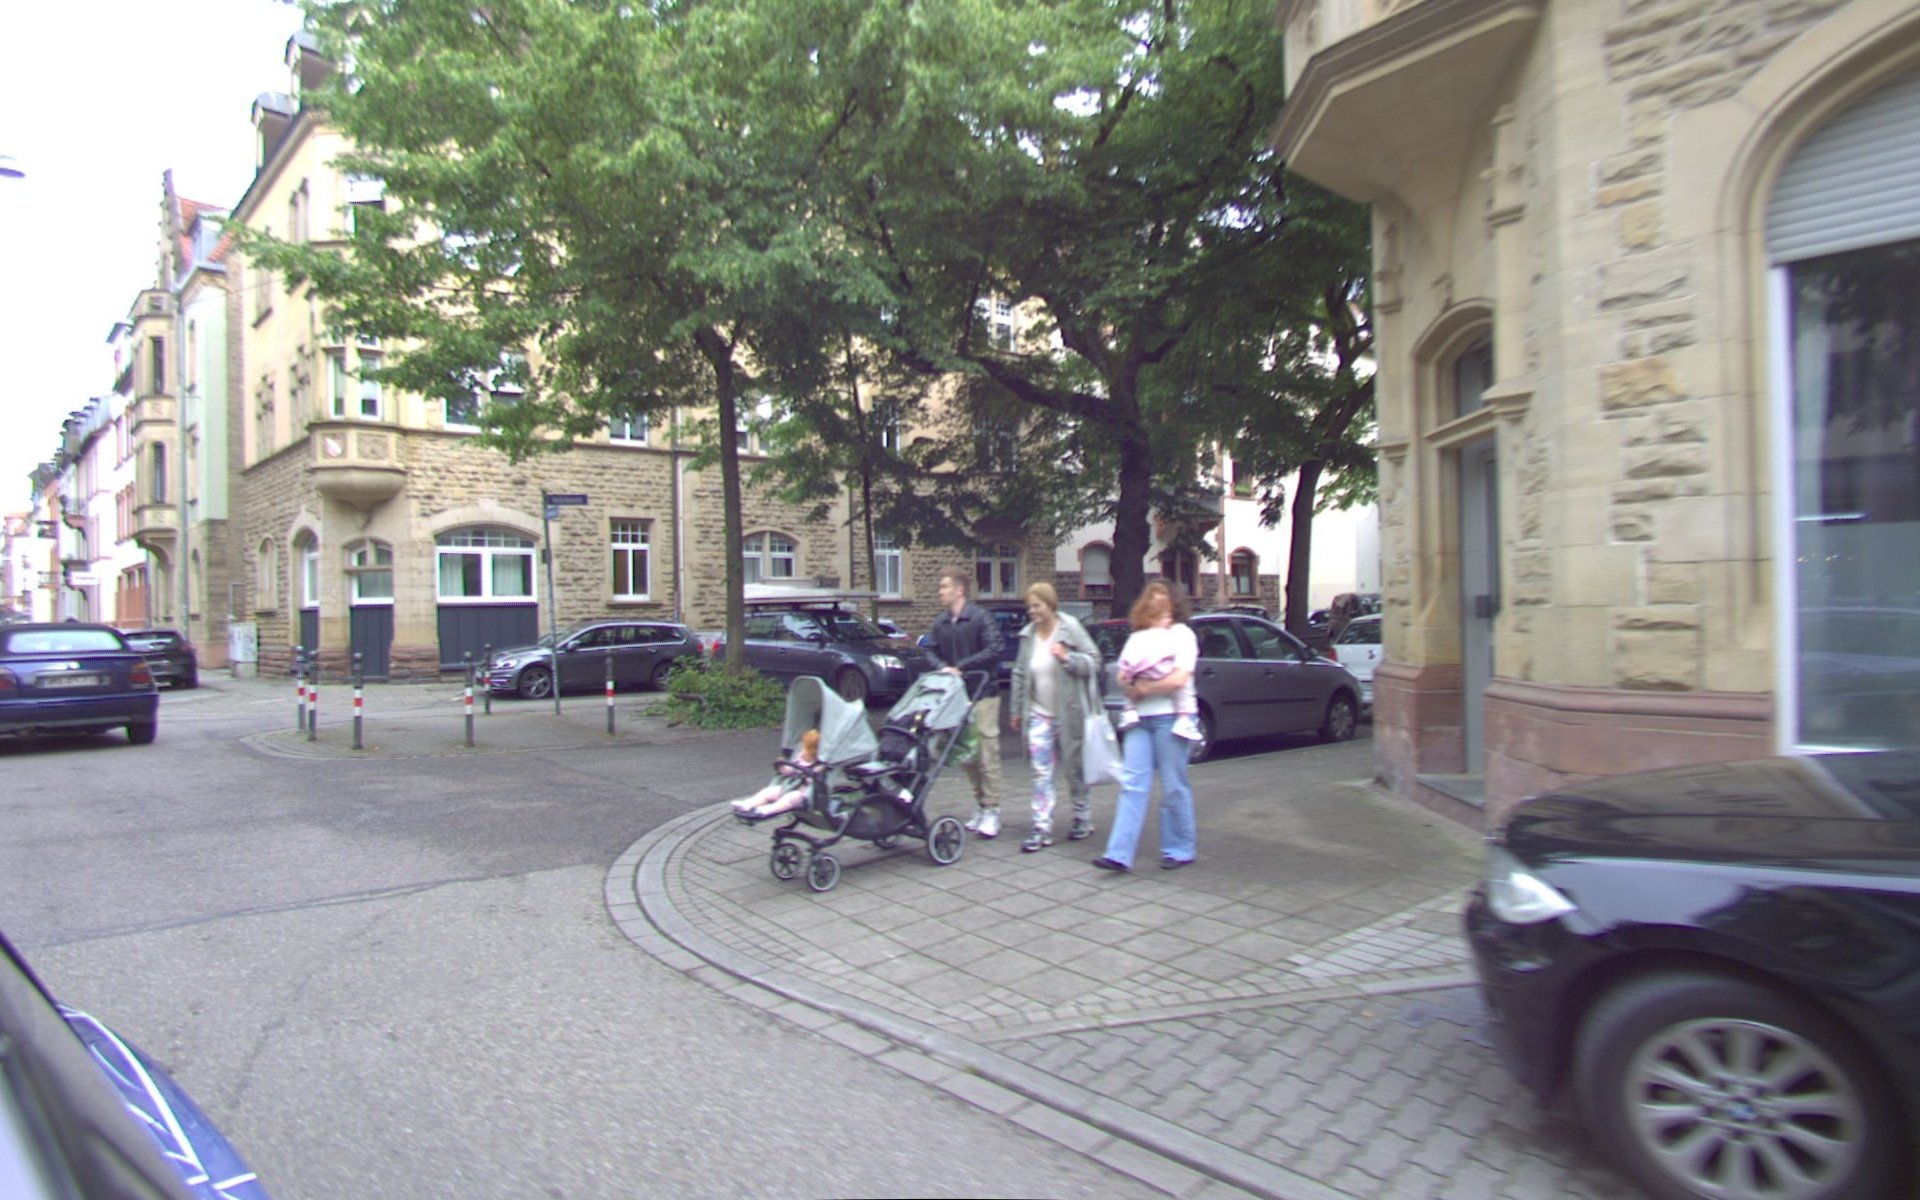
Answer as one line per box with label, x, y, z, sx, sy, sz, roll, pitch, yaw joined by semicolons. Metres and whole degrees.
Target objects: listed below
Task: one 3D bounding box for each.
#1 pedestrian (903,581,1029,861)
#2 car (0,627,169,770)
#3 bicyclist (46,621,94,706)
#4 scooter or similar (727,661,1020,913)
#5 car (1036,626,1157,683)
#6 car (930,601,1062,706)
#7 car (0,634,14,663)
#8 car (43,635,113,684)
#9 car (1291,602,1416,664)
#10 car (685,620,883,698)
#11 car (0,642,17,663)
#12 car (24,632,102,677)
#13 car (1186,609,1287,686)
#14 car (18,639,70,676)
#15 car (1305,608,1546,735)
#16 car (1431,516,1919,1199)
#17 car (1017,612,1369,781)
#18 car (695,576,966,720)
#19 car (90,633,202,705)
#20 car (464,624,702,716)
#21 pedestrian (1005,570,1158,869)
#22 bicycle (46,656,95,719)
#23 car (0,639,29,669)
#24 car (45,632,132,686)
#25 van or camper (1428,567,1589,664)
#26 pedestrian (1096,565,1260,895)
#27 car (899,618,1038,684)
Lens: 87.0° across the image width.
pedestrian;0.035;0.723;6.388;0.521;1.655;0.529;-2;0;-38
car;-10.875;1.074;11.908;3.849;1.424;1.691;-2;-2;39
bicyclist;-16.625;1.172;18.907;0.640;1.550;0.677;1;-2;-43
scooter or similar;-0.469;0.970;5.703;1.449;1.112;0.677;-3;0;-34
car;3.941;1.524;29.075;3.336;1.359;1.582;-1;2;-39
car;0.543;0.860;18.183;1.627;1.527;3.621;-1;2;-10
car;-64.963;3.279;68.134;1.818;1.874;4.003;0;-2;-44
car;-29.427;1.958;33.734;3.457;1.445;1.500;-3;0;45
car;10.330;0.822;26.862;1.732;1.529;3.761;0;0;-2
car;-3.997;1.275;23.346;4.217;1.477;1.666;-1;2;-39
car;-68.448;3.738;72.339;1.437;1.420;3.813;-2;-1;-44
car;-33.015;1.991;37.236;3.551;1.522;1.649;-2;-1;40
car;5.976;0.967;22.235;1.759;1.492;3.648;0;0;9
car;-39.539;2.465;43.654;3.919;1.427;1.449;-3;0;45
car;6.327;0.916;13.610;3.448;1.471;1.651;0;-5;-43
car;3.213;0.557;1.751;1.689;1.506;4.003;-2;1;-44
car;2.492;0.913;10.568;3.521;1.471;1.653;1;-4;-36
car;-2.062;0.718;15.797;3.948;1.983;1.813;-2;-1;32
car;-19.130;1.566;23.727;1.707;1.445;3.884;-2;0;-44
car;-7.565;1.327;20.531;4.217;1.477;1.666;-1;3;-39
pedestrian;0.716;0.663;6.032;0.608;1.656;0.605;-1;-1;-34
bicycle;-16.603;1.608;18.882;0.626;1.102;1.801;1;-3;-43
car;-48.711;2.750;51.406;4.002;1.401;1.878;-3;-1;45
car;-26.249;1.749;30.445;3.810;1.445;1.572;-3;0;44
van or camper;15.533;0.465;29.054;2.048;2.480;5.290;-1;-1;5
pedestrian;1.123;0.641;5.336;0.622;1.606;0.670;-2;-1;-4
car;0.253;1.285;26.635;3.336;1.477;1.666;-1;2;-39
